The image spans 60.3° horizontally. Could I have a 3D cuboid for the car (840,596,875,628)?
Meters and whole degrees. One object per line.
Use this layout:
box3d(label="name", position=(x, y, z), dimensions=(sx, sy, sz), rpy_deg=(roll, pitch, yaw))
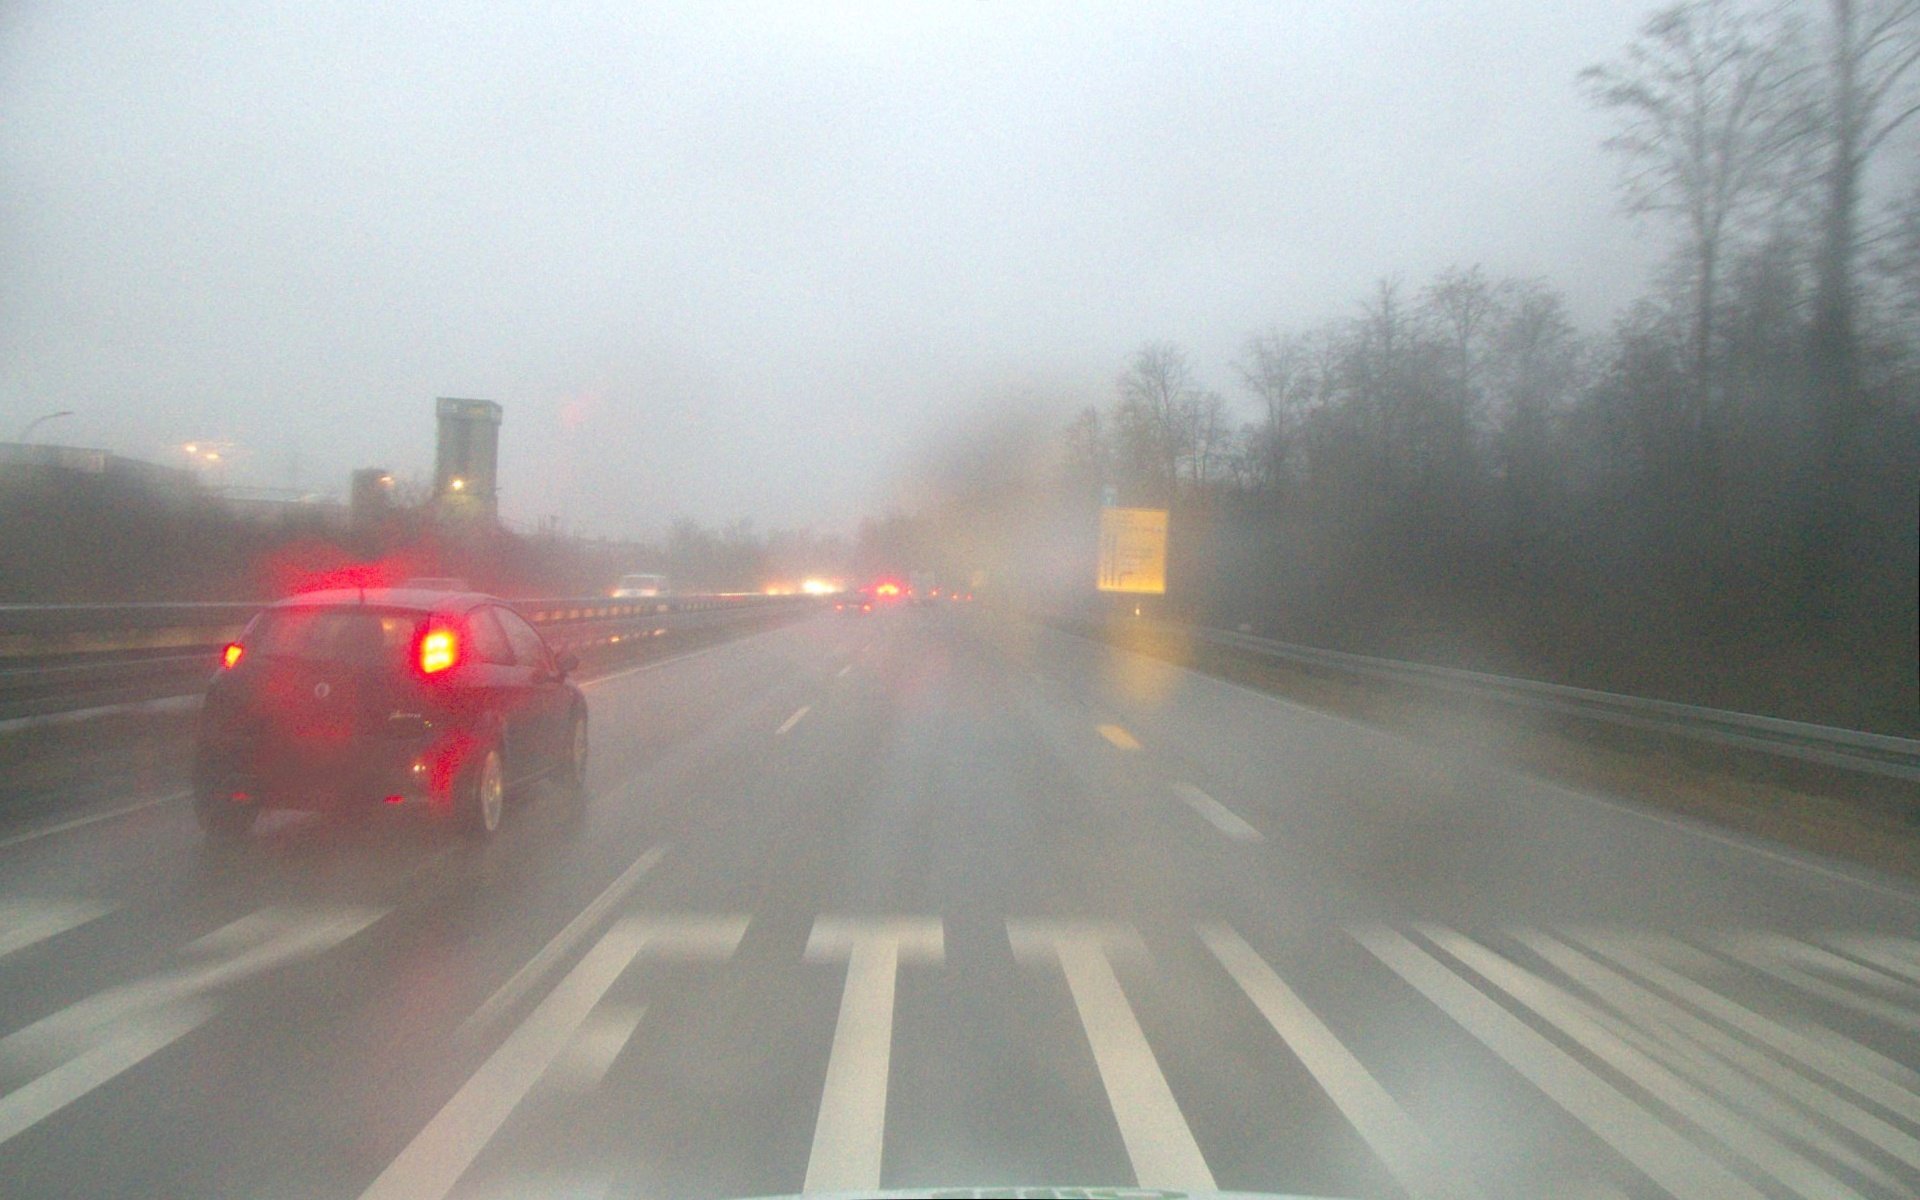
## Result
box3d(label="car", position=(-4.580, 0.540, 74.417), dimensions=(1.387, 1.340, 3.082), rpy_deg=(2, 0, -1))

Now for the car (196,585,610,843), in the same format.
box3d(label="car", position=(-3.612, 0.658, 11.483), dimensions=(1.593, 1.416, 3.998), rpy_deg=(3, 0, -2))

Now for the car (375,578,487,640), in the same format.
box3d(label="car", position=(-14.197, 0.236, 44.588), dimensions=(1.701, 1.534, 3.999), rpy_deg=(2, 0, -1))
